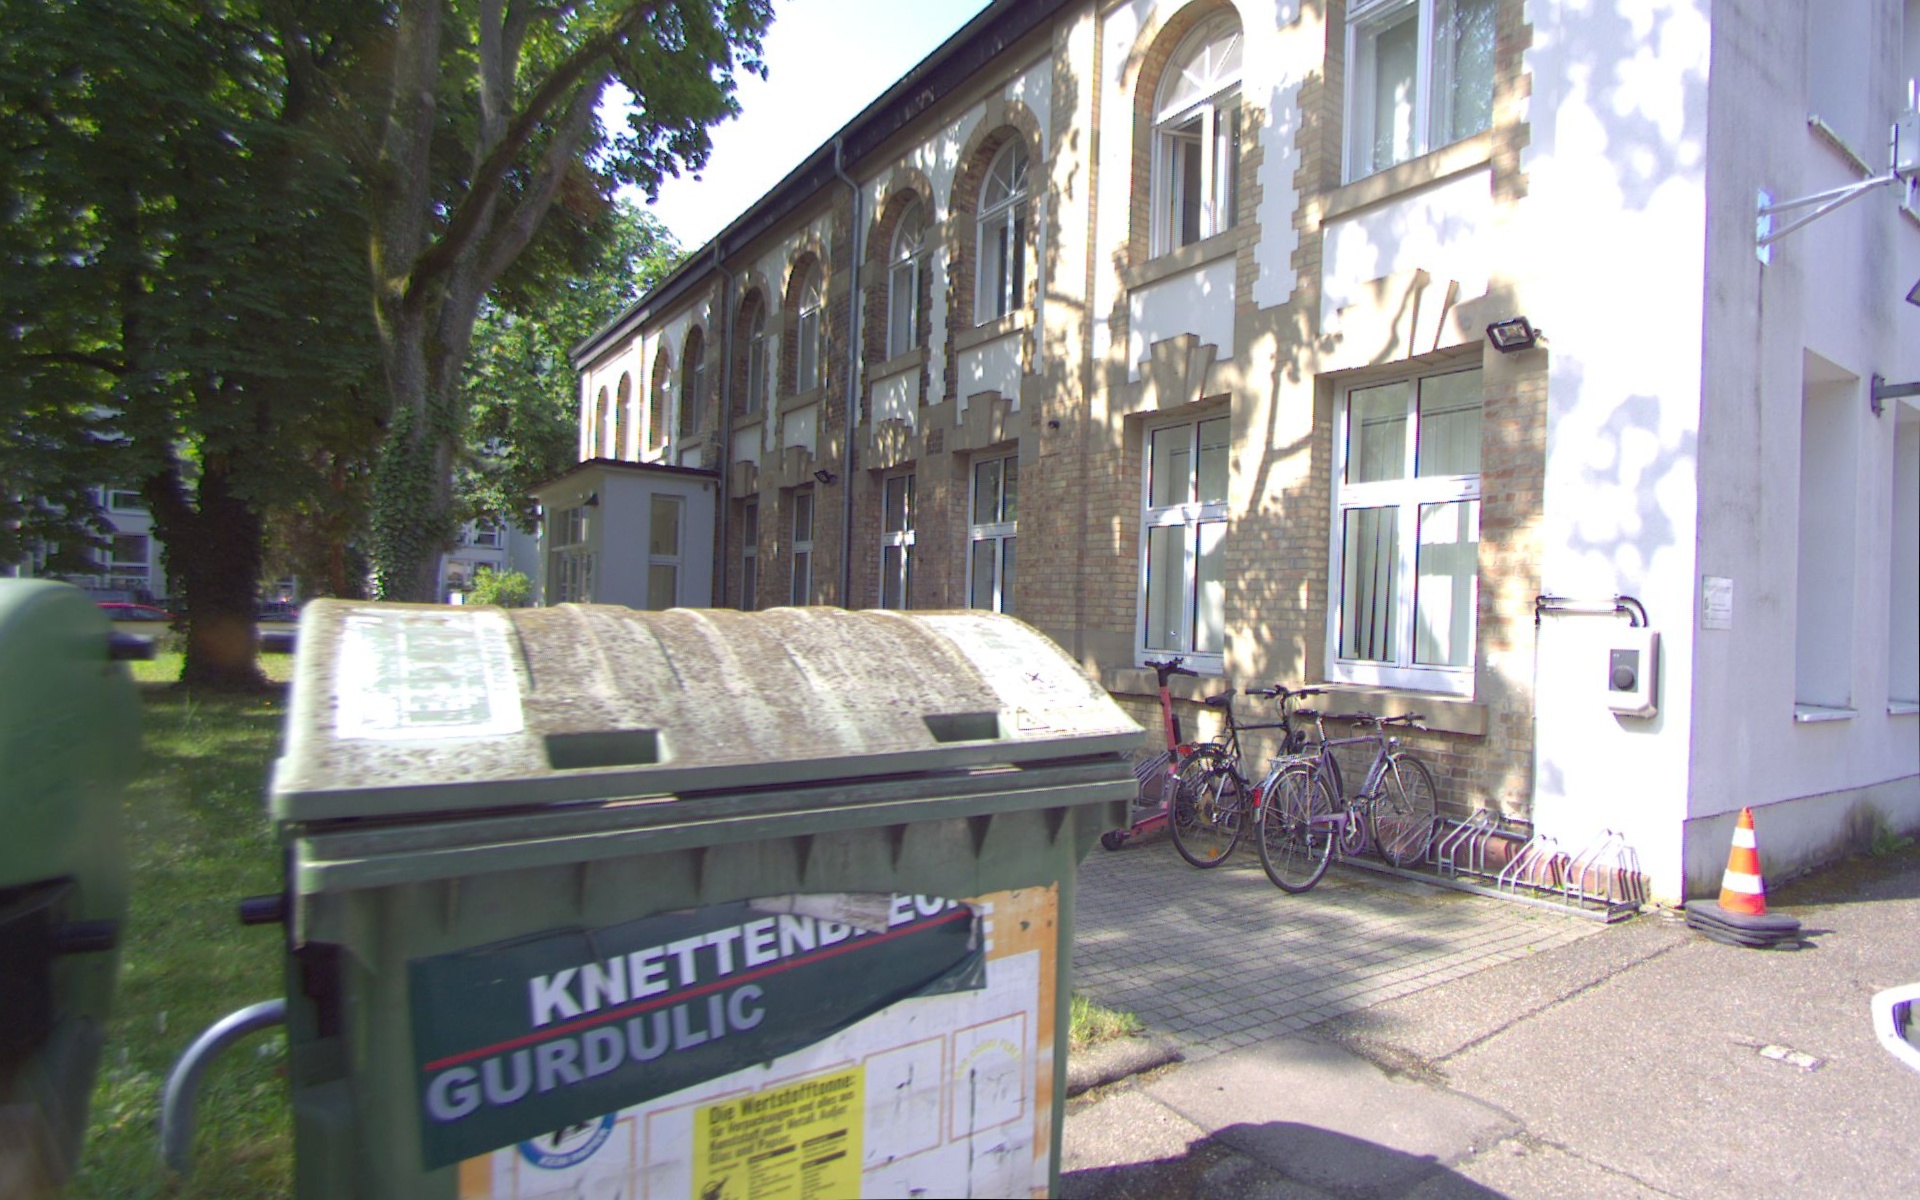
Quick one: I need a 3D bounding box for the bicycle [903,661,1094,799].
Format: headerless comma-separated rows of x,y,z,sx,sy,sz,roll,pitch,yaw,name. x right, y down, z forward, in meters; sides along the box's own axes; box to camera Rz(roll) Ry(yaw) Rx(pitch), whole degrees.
0.375,1.094,8.805,1.841,1.051,0.317,1,3,-36,bicycle

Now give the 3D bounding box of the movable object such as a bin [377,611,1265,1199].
-0.327,0.790,1.917,1.328,1.471,1.093,0,3,-32,movable object such as a bin

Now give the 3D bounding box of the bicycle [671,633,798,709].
-3.335,1.036,14.975,1.841,1.051,0.317,1,3,-36,bicycle

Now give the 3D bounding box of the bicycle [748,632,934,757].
-1.285,1.004,11.146,2.043,1.138,0.416,-4,5,-31,bicycle

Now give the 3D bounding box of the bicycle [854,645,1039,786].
-0.091,1.035,9.408,1.841,1.158,0.354,0,3,-36,bicycle

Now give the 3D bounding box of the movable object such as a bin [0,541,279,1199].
-1.569,0.662,1.119,1.268,1.471,1.217,0,3,-31,movable object such as a bin

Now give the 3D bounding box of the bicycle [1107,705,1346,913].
1.720,1.245,6.305,1.841,1.051,0.317,1,3,-36,bicycle

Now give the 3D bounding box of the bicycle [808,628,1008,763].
-0.497,0.925,10.174,2.043,1.232,0.416,0,3,-31,bicycle

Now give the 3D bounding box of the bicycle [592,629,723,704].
-4.493,0.964,14.995,1.842,1.051,0.317,1,3,-36,bicycle

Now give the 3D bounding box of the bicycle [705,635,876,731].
-2.060,0.989,12.379,2.043,1.070,0.416,1,3,-31,bicycle

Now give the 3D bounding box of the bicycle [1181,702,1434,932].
2.033,1.164,5.733,1.841,1.051,0.317,1,3,-36,bicycle

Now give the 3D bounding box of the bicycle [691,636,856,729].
-2.349,1.018,12.794,2.043,1.070,0.416,1,3,-31,bicycle

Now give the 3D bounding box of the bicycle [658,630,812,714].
-3.063,0.958,13.790,2.043,1.070,0.416,1,-1,-31,bicycle

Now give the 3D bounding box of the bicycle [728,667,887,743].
-1.752,1.202,11.694,1.837,0.715,0.318,-1,4,-29,bicycle

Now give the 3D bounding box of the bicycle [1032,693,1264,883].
1.316,1.210,6.792,1.841,1.051,0.317,1,3,-36,bicycle
